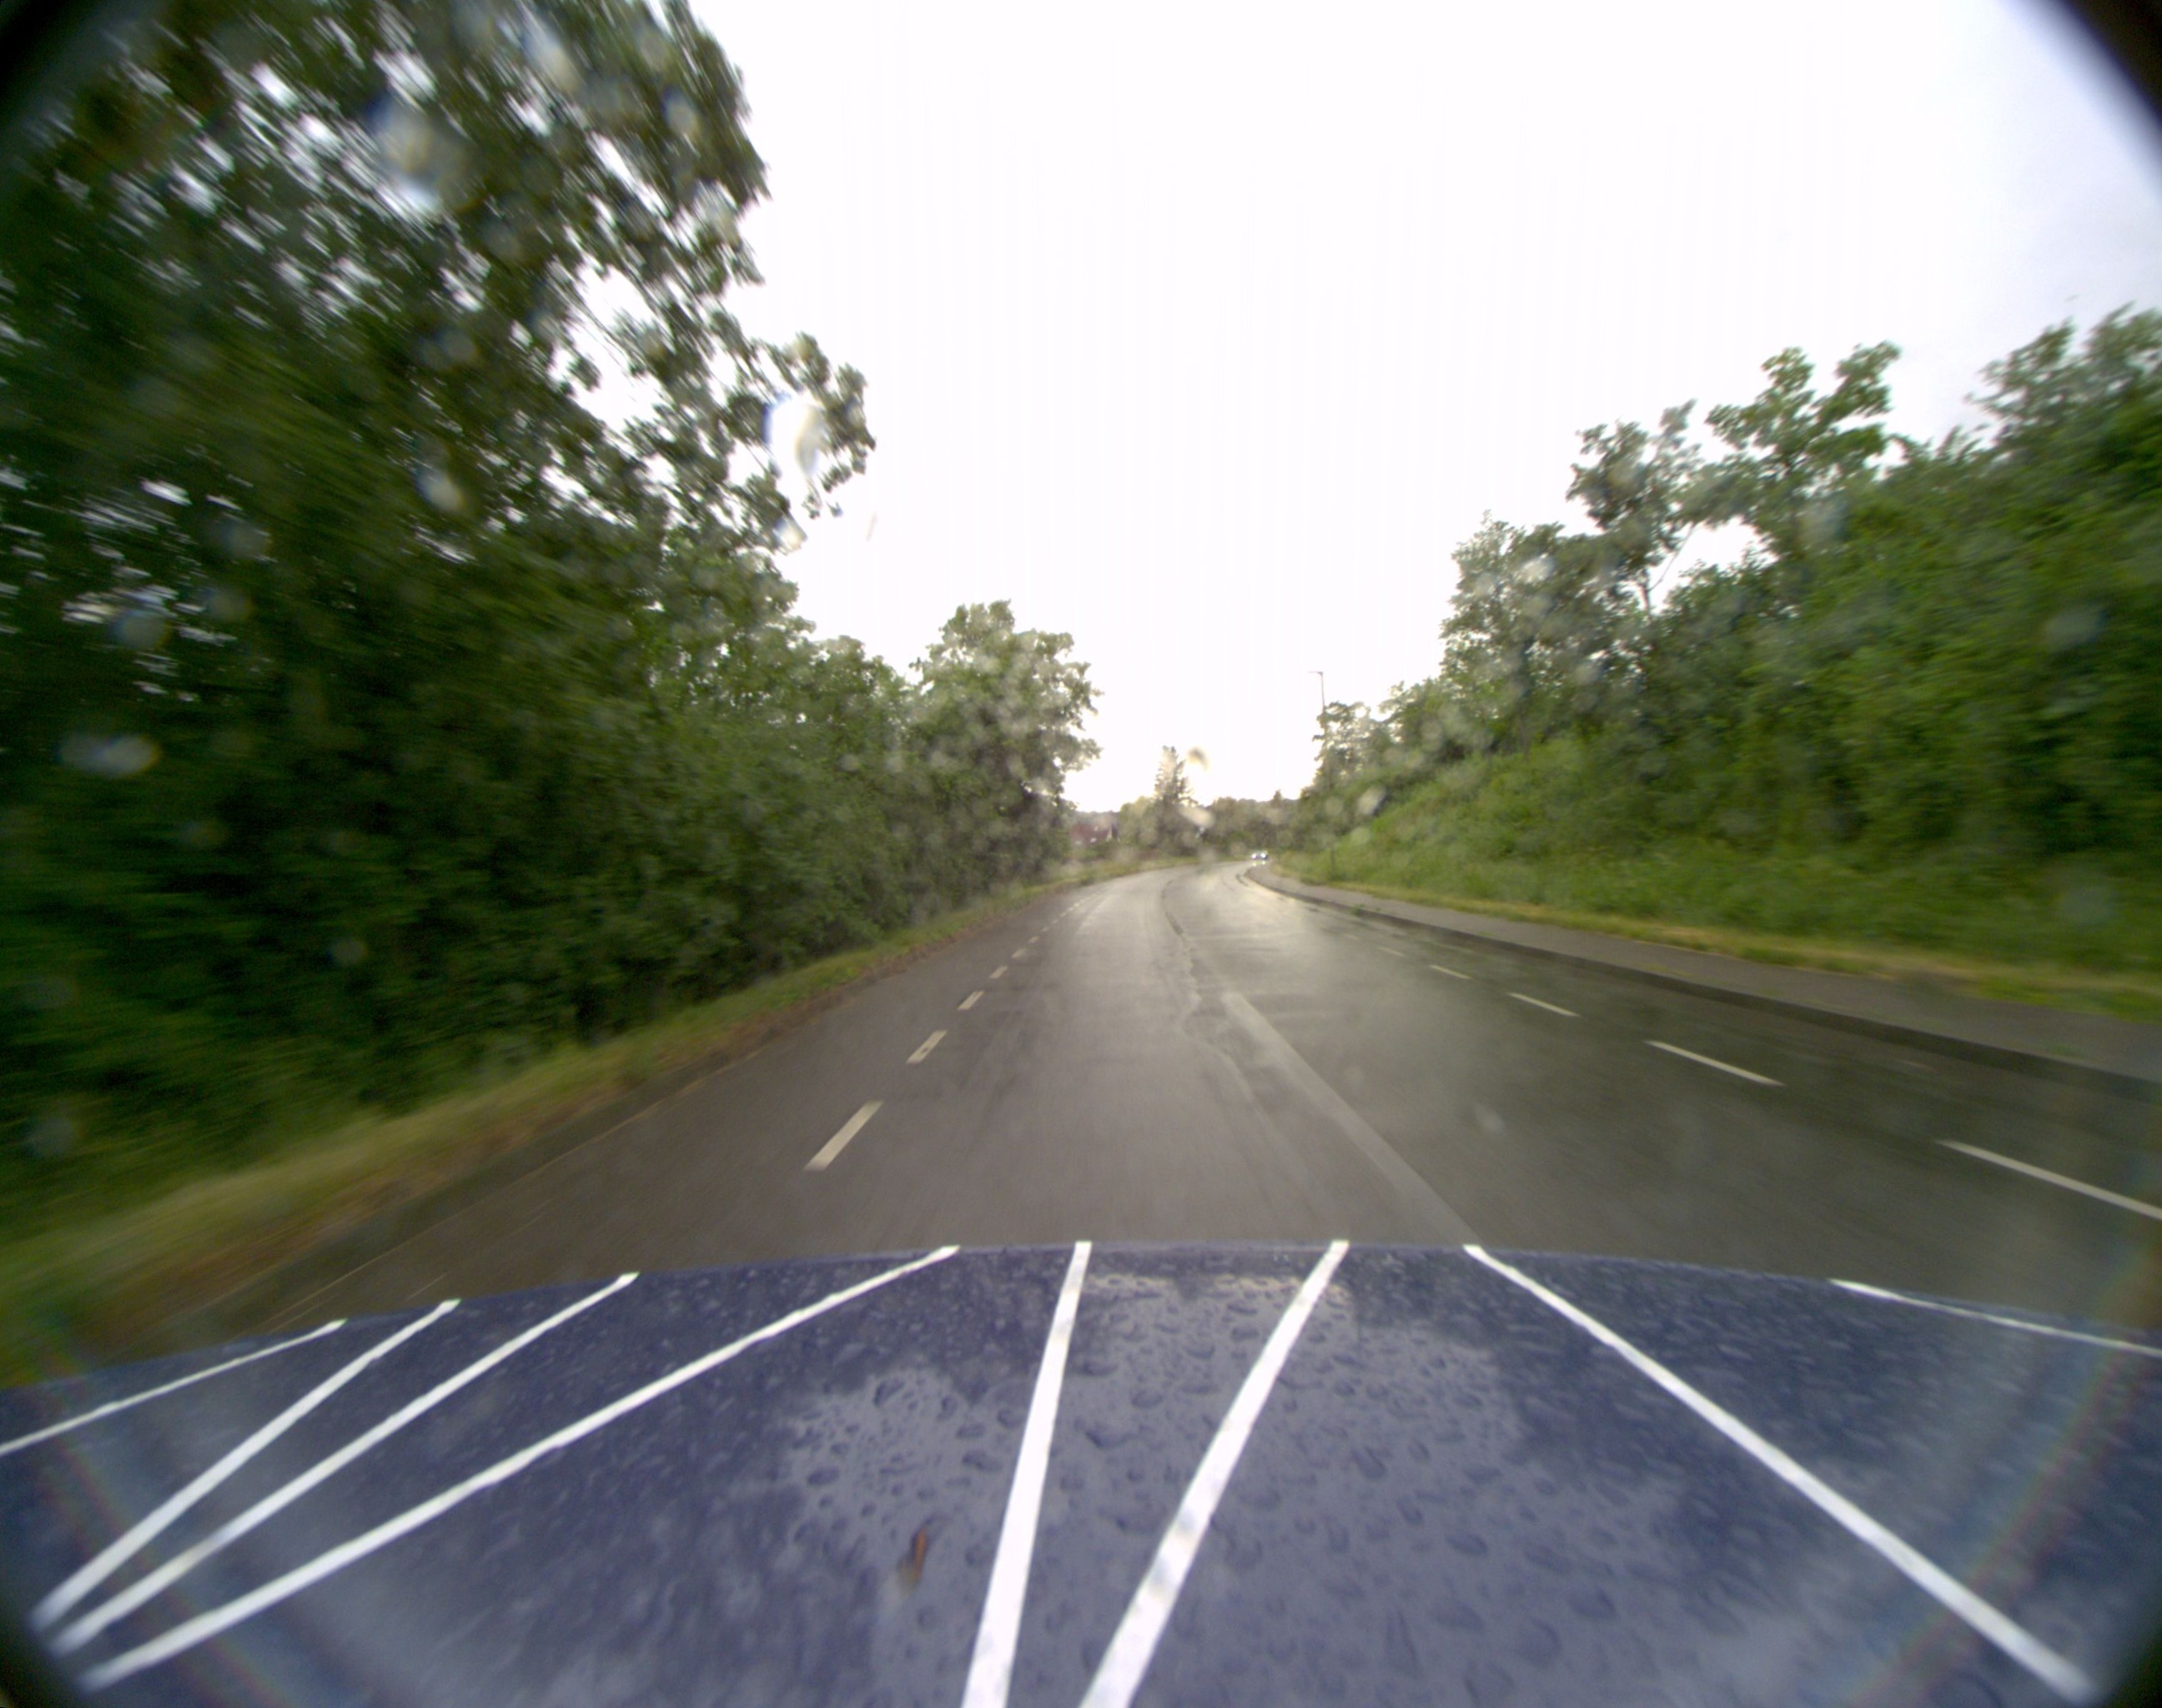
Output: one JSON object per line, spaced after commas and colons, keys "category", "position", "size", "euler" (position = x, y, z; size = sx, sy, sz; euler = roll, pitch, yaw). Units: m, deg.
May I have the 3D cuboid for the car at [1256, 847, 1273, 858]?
{"category": "car", "position": [28.020, -0.263, 115.953], "size": [1.876, 1.596, 4.006], "euler": [-1, 1, 22]}
